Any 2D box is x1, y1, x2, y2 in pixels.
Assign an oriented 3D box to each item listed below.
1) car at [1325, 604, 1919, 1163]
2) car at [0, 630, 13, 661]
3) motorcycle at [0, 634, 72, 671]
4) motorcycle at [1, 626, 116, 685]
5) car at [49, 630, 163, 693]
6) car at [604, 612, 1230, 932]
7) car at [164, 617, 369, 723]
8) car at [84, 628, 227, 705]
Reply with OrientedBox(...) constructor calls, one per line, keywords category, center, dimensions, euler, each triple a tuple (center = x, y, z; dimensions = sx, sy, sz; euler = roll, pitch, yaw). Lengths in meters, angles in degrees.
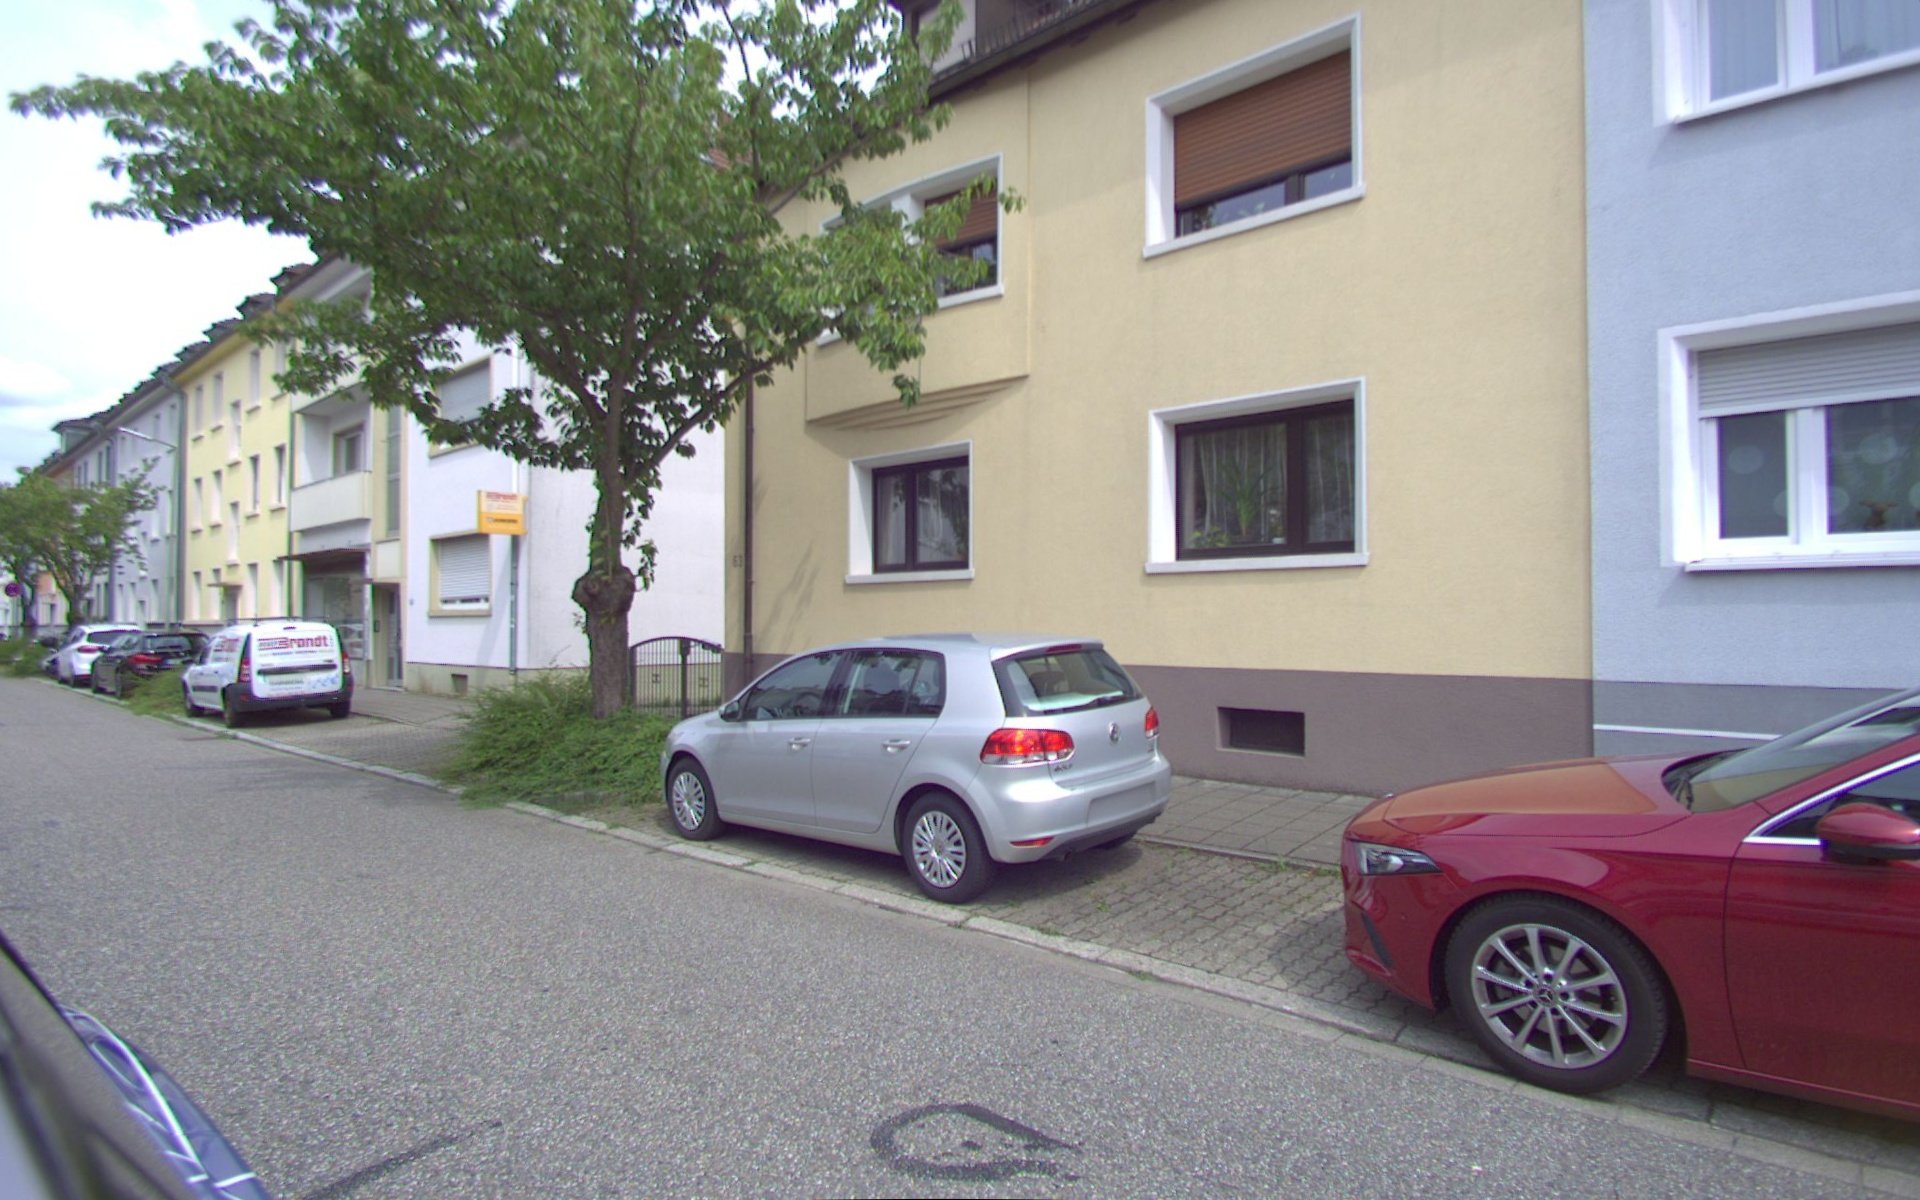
OrientedBox(category="car", center=(3.668, 0.798, 3.023), dimensions=(4.511, 1.497, 1.857), euler=(-2, -4, 42))
OrientedBox(category="car", center=(-48.483, 2.282, 50.122), dimensions=(4.117, 1.495, 1.818), euler=(-1, 1, 40))
OrientedBox(category="motorcycle", center=(-31.601, 1.794, 34.544), dimensions=(0.591, 1.201, 1.902), euler=(0, -3, 15))
OrientedBox(category="motorcycle", center=(-26.335, 1.616, 29.590), dimensions=(2.438, 1.689, 0.939), euler=(0, -3, -1))
OrientedBox(category="car", center=(-22.910, 1.584, 27.099), dimensions=(4.254, 1.568, 1.738), euler=(-2, -3, 42))
OrientedBox(category="car", center=(-0.538, 0.888, 6.992), dimensions=(4.274, 1.402, 1.753), euler=(-2, 3, 43))
OrientedBox(category="car", center=(-12.044, 1.154, 17.468), dimensions=(4.381, 1.593, 1.898), euler=(-2, -4, 42))
OrientedBox(category="car", center=(-18.148, 1.403, 22.746), dimensions=(4.811, 1.503, 1.771), euler=(-1, -1, 42))
